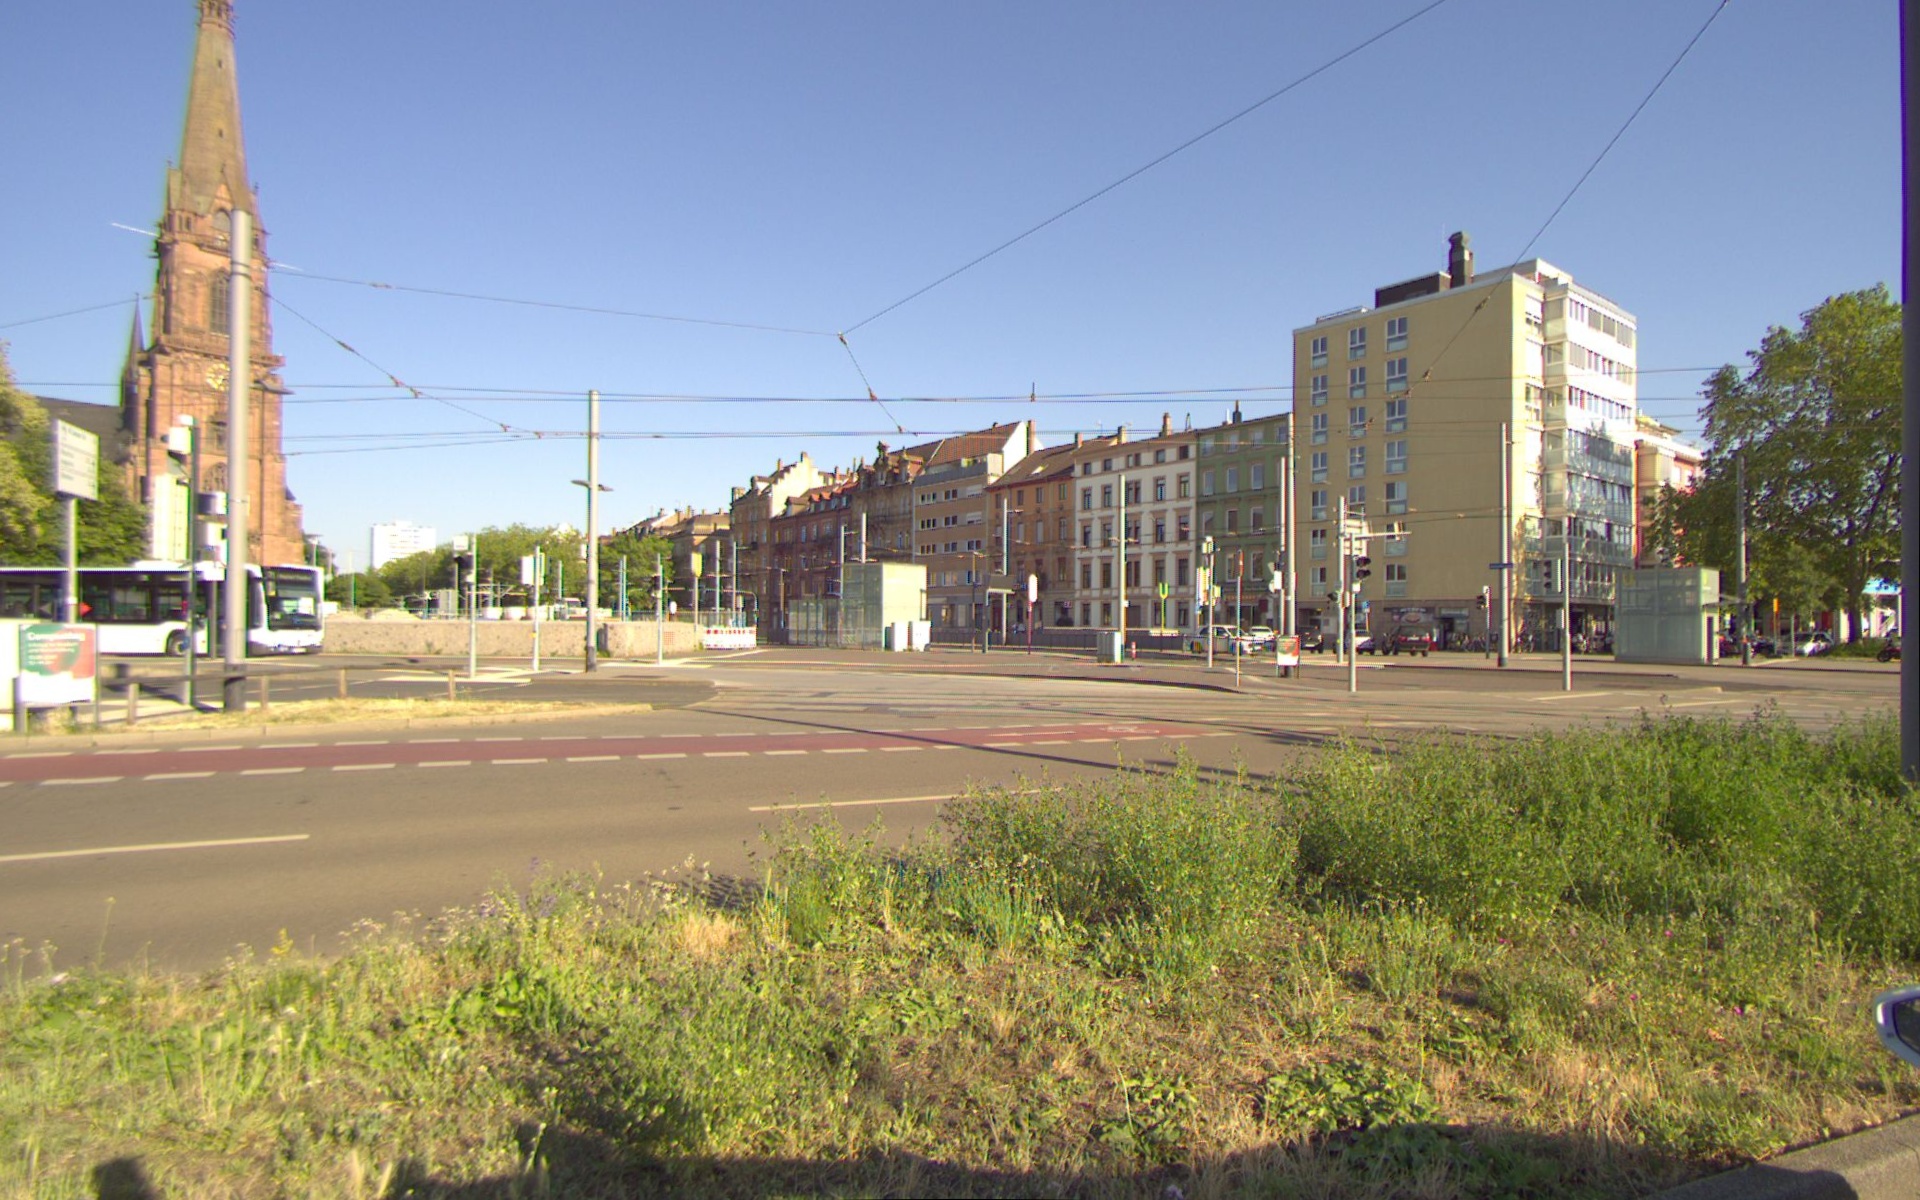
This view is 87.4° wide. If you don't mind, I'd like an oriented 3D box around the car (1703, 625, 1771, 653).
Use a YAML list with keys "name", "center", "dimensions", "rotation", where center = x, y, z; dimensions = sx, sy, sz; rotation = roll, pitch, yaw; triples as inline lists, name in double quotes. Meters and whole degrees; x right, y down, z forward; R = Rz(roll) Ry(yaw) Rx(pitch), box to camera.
- name: "car"
  center: [57.350, 2.861, 74.227]
  dimensions: [3.935, 1.882, 1.846]
  rotation: [0, 0, 36]

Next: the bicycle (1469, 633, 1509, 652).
- name: "bicycle"
  center: [32.708, 2.637, 62.114]
  dimensions: [0.770, 1.104, 2.026]
  rotation: [1, -2, -38]

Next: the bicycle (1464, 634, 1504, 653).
- name: "bicycle"
  center: [32.089, 2.646, 61.541]
  dimensions: [0.770, 1.104, 2.026]
  rotation: [1, -2, -38]

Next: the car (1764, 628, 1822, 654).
- name: "car"
  center: [50.807, 2.492, 61.269]
  dimensions: [3.962, 1.471, 1.834]
  rotation: [1, -1, -36]

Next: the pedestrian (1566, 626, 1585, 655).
- name: "pedestrian"
  center: [37.132, 2.451, 60.608]
  dimensions: [0.775, 1.698, 0.770]
  rotation: [1, -1, -37]

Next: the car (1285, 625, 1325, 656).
- name: "car"
  center: [21.308, 2.452, 62.133]
  dimensions: [1.802, 1.742, 4.002]
  rotation: [-1, 0, 11]

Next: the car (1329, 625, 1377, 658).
- name: "car"
  center: [23.276, 2.409, 59.589]
  dimensions: [1.802, 1.772, 4.002]
  rotation: [-1, 0, 9]

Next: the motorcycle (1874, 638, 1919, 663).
- name: "motorcycle"
  center: [43.697, 2.314, 46.248]
  dimensions: [0.680, 1.068, 2.272]
  rotation: [-1, 0, -32]

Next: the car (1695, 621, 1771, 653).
- name: "car"
  center: [51.331, 2.423, 66.778]
  dimensions: [3.935, 2.040, 1.993]
  rotation: [0, -1, 36]

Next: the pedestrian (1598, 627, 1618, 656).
- name: "pedestrian"
  center: [37.984, 2.434, 58.853]
  dimensions: [0.775, 1.698, 0.770]
  rotation: [1, -1, -37]

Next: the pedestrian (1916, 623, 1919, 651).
- name: "pedestrian"
  center: [69.993, 2.697, 72.961]
  dimensions: [0.700, 2.040, 0.588]
  rotation: [1, -1, -20]

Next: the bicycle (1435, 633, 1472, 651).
- name: "bicycle"
  center: [31.358, 2.648, 63.855]
  dimensions: [0.770, 1.104, 2.026]
  rotation: [1, -2, -38]

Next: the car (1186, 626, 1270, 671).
- name: "car"
  center: [13.616, 2.422, 51.130]
  dimensions: [1.983, 2.040, 3.705]
  rotation: [-1, 0, -39]

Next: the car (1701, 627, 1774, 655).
- name: "car"
  center: [54.519, 2.854, 70.540]
  dimensions: [3.935, 1.882, 1.846]
  rotation: [0, 0, 36]

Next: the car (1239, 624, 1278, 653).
- name: "car"
  center: [19.301, 2.467, 65.051]
  dimensions: [2.044, 1.742, 4.012]
  rotation: [-1, 0, 11]

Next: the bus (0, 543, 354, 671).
- name: "bus"
  center: [-25.995, 0.216, 31.739]
  dimensions: [11.941, 3.359, 3.254]
  rotation: [3, -4, 6]

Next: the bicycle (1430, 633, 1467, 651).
- name: "bicycle"
  center: [30.743, 2.657, 63.238]
  dimensions: [0.770, 1.104, 2.026]
  rotation: [1, -2, -38]

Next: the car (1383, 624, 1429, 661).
- name: "car"
  center: [25.402, 2.394, 57.323]
  dimensions: [1.816, 1.882, 4.001]
  rotation: [-1, 0, 16]
